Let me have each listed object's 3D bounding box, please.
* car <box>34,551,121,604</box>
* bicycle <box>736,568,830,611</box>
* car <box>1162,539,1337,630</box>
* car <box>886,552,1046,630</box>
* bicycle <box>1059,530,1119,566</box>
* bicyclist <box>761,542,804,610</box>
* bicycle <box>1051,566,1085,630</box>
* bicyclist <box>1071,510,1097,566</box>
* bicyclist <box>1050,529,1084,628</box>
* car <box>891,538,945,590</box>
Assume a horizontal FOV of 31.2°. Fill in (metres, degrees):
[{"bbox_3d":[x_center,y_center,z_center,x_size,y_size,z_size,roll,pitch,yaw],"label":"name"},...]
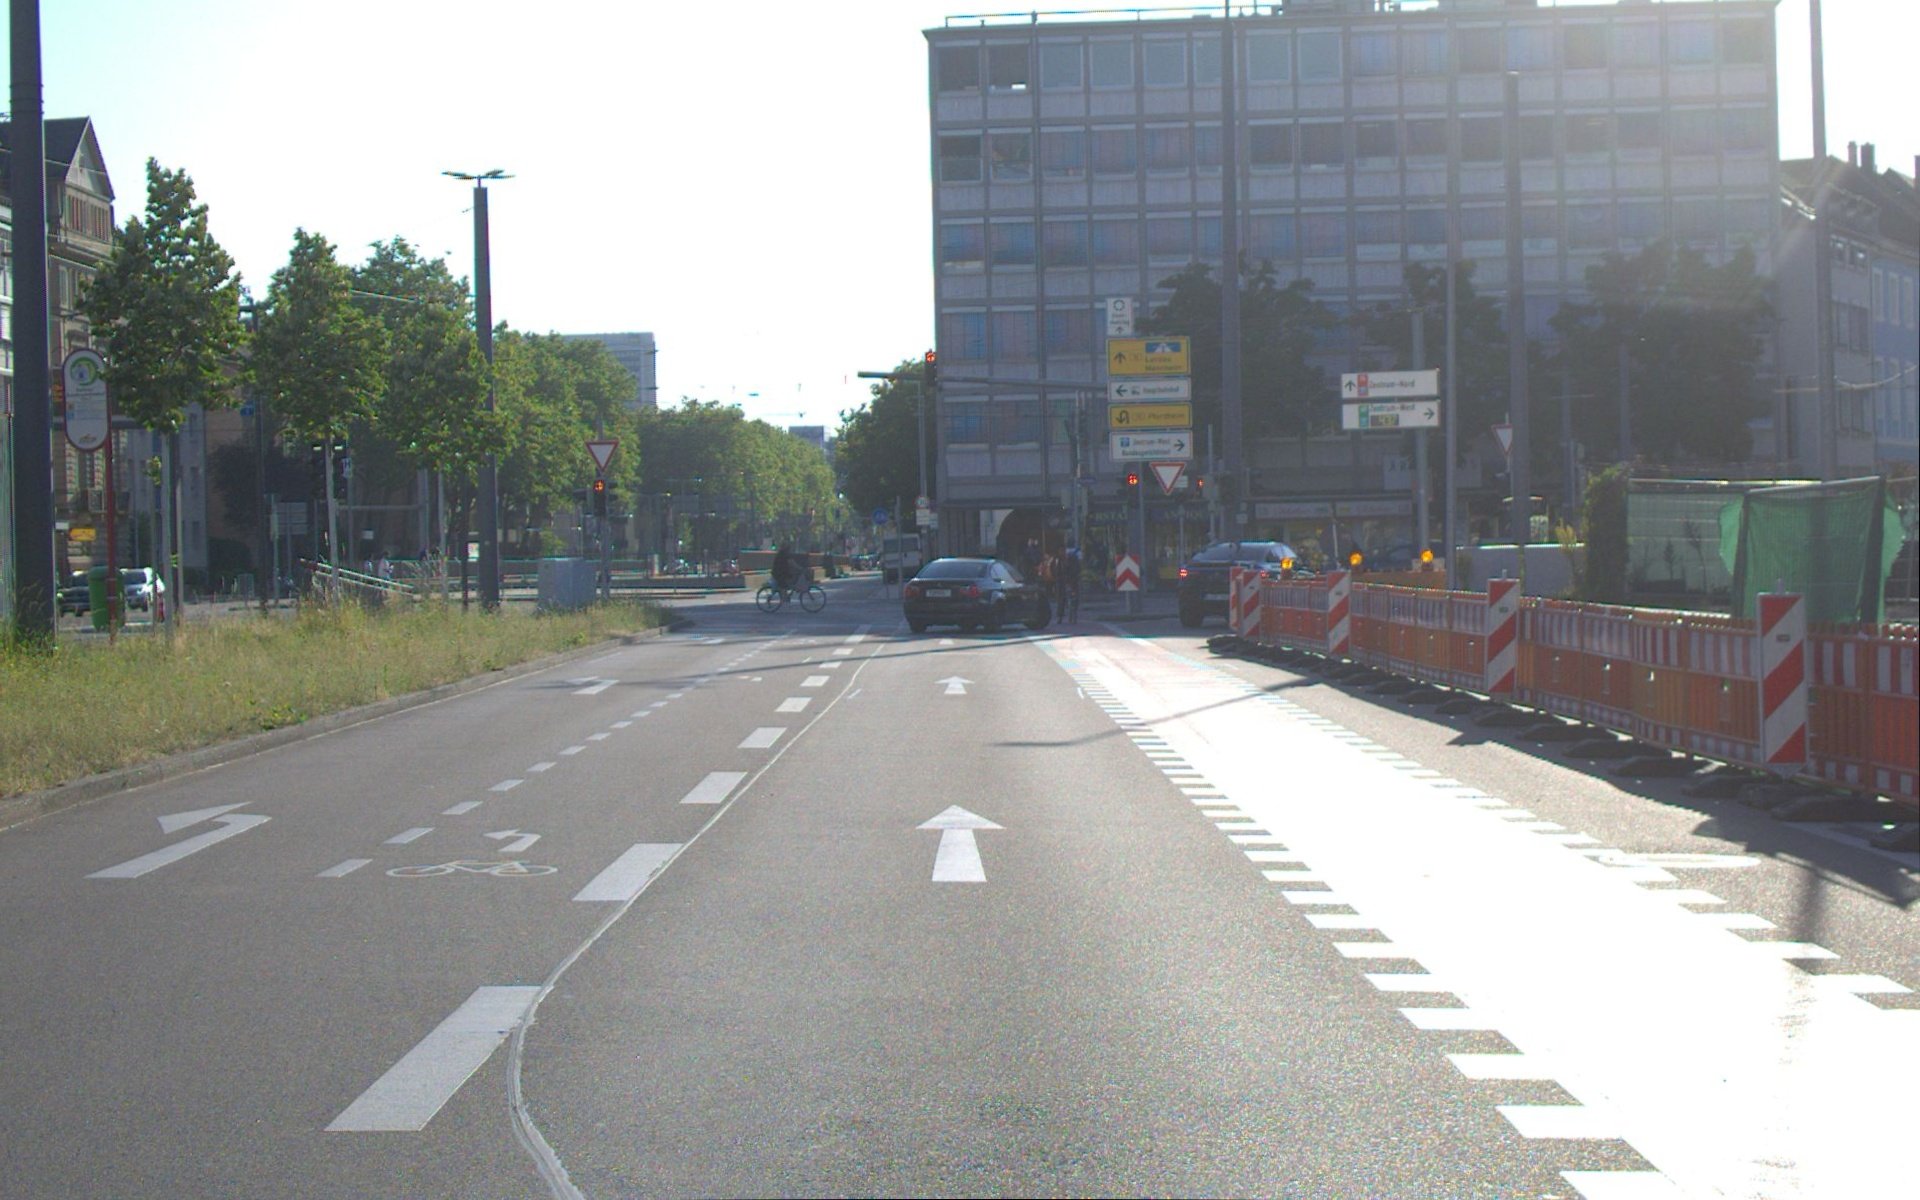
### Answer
[{"bbox_3d":[-32.326,-0.845,126.033,1.993,1.853,4.000,-1,1,2],"label":"car"},{"bbox_3d":[-4.326,-0.254,84.172,2.226,1.023,0.682,-1,1,3],"label":"bicycle"},{"bbox_3d":[5.846,-0.345,69.064,1.997,1.687,3.994,1,2,29],"label":"car"},{"bbox_3d":[0.146,-0.186,65.531,1.745,1.421,3.996,0,1,21],"label":"car"},{"bbox_3d":[4.027,-1.620,107.535,1.775,1.068,0.535,-2,1,-10],"label":"bicycle"},{"bbox_3d":[-4.350,-0.588,84.167,0.959,1.656,0.691,-1,1,3],"label":"bicyclist"},{"bbox_3d":[2.240,-0.054,71.369,0.644,1.219,2.048,1,3,0],"label":"bicycle"},{"bbox_3d":[3.885,-1.940,107.501,0.663,1.706,0.538,-2,1,-10],"label":"bicyclist"},{"bbox_3d":[2.227,-0.461,71.404,0.643,2.006,1.067,1,2,0],"label":"bicyclist"},{"bbox_3d":[-2.080,-1.779,168.428,2.486,2.384,5.935,-3,1,-1],"label":"car"}]
